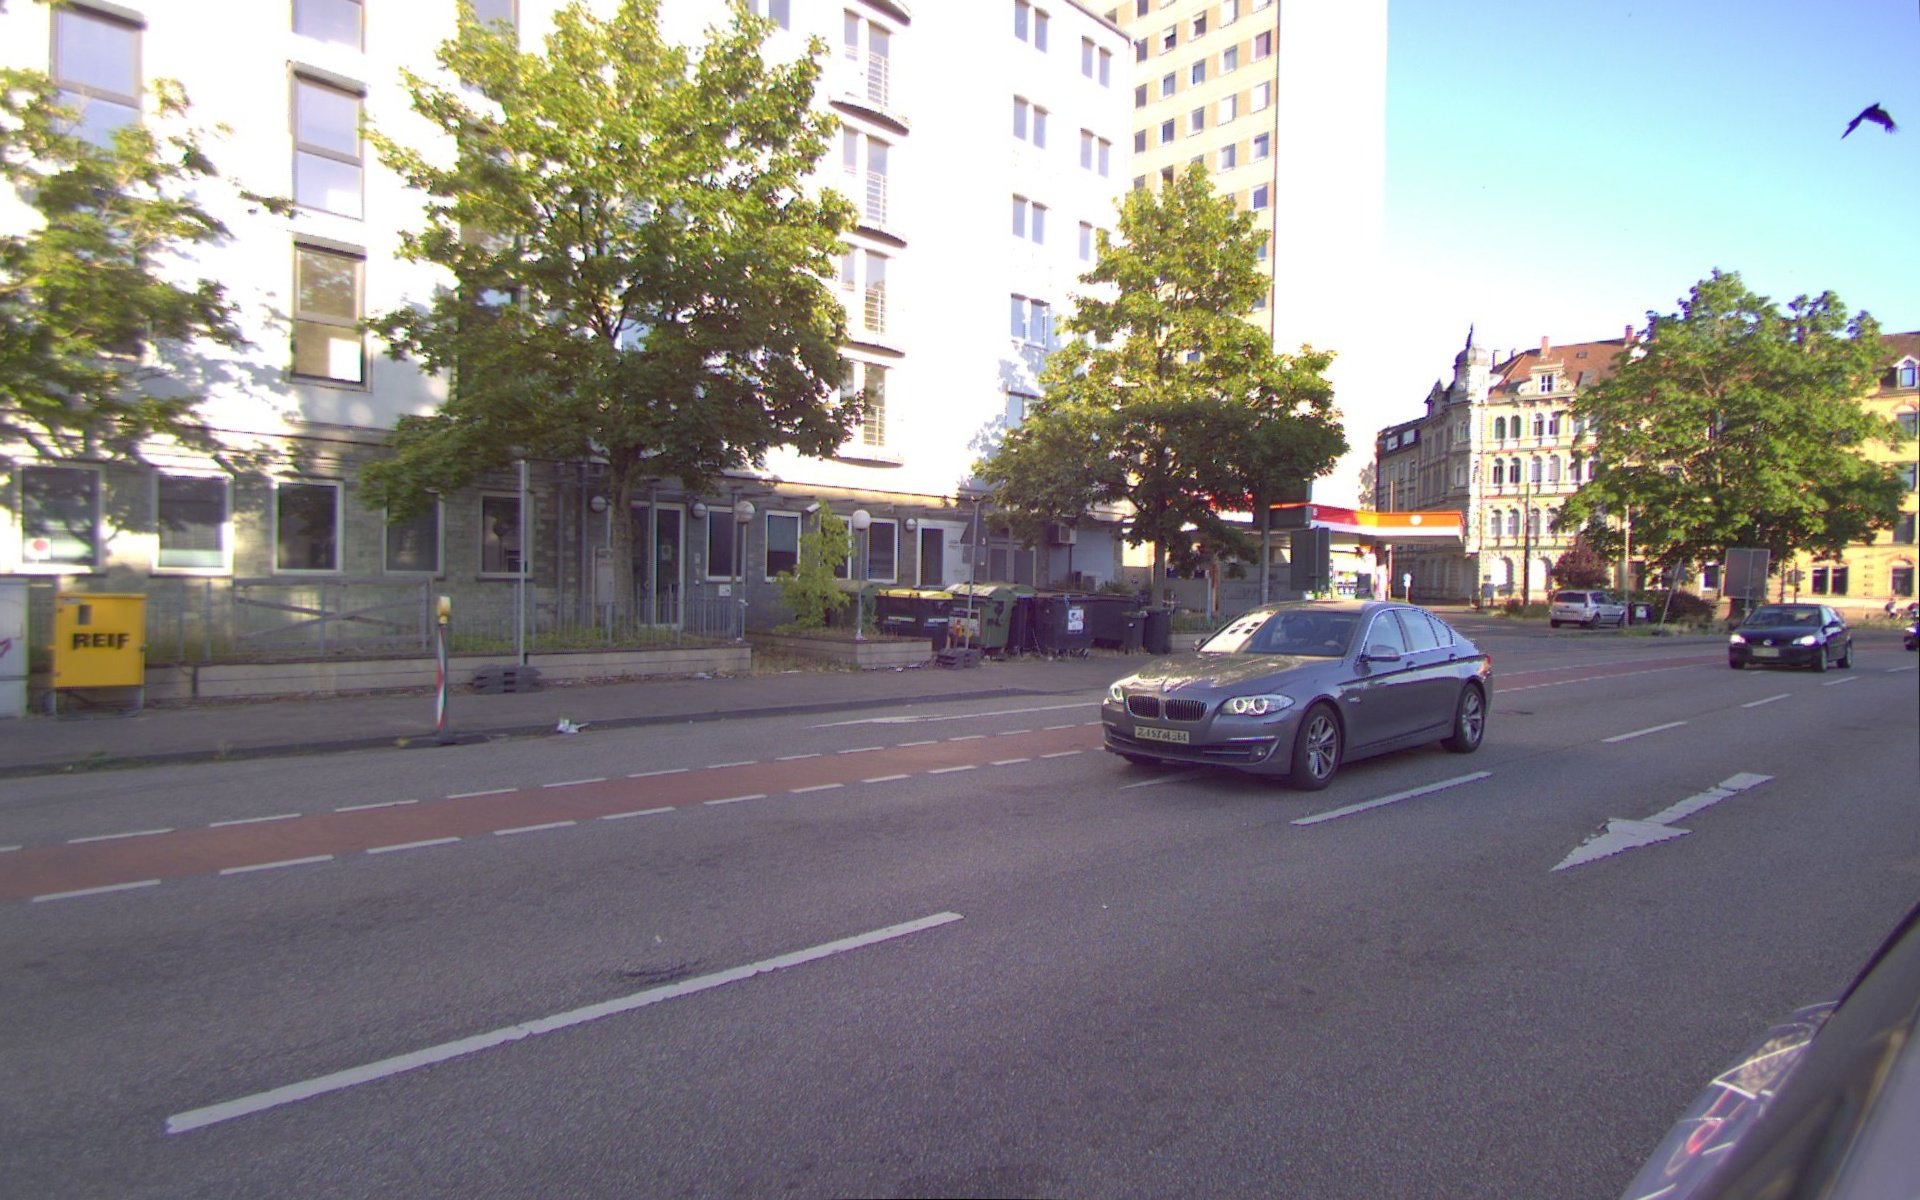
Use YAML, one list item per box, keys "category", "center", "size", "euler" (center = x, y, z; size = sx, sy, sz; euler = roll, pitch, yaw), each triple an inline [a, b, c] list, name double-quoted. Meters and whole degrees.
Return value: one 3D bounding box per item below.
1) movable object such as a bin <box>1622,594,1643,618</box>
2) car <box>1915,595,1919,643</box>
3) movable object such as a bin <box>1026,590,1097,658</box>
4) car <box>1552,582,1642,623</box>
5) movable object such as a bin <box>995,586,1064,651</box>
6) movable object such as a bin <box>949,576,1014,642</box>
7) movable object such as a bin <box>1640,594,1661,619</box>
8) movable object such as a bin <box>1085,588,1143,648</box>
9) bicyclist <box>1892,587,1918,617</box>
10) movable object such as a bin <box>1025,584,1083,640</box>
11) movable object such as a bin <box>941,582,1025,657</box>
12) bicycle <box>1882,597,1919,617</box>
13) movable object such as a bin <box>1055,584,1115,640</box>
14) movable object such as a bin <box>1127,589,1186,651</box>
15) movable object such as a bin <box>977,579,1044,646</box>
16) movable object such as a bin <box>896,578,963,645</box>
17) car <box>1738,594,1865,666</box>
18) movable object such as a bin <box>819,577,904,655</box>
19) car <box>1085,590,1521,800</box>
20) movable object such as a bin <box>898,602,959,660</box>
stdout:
- category: "movable object such as a bin"
  center: [29.063, 0.248, 43.739]
  size: [0.675, 1.031, 0.544]
  euler: [0, 1, -36]
- category: "car"
  center: [31.702, 0.588, 31.944]
  size: [3.972, 1.467, 1.731]
  euler: [0, 0, -38]
- category: "movable object such as a bin"
  center: [2.113, 0.469, 21.075]
  size: [1.143, 1.345, 0.954]
  euler: [0, 1, -44]
- category: "car"
  center: [25.725, 0.063, 40.861]
  size: [3.723, 1.535, 1.691]
  euler: [-1, 2, -34]
- category: "movable object such as a bin"
  center: [1.515, 0.384, 22.021]
  size: [1.143, 1.345, 0.954]
  euler: [0, 1, -44]
- category: "movable object such as a bin"
  center: [0.508, 0.193, 24.144]
  size: [1.143, 1.517, 1.033]
  euler: [0, 1, -44]
- category: "movable object such as a bin"
  center: [29.376, 0.263, 43.054]
  size: [0.675, 1.031, 0.544]
  euler: [0, 1, -36]
- category: "movable object such as a bin"
  center: [3.606, 0.394, 23.661]
  size: [0.938, 1.345, 0.954]
  euler: [0, 1, -43]
- category: "bicyclist"
  center: [53.675, 0.106, 57.495]
  size: [1.062, 1.669, 0.721]
  euler: [2, 1, 43]
- category: "movable object such as a bin"
  center: [2.357, 0.273, 25.305]
  size: [1.080, 1.345, 0.954]
  euler: [0, 1, -44]
- category: "movable object such as a bin"
  center: [0.465, 0.371, 20.777]
  size: [1.088, 1.441, 1.348]
  euler: [0, 1, -45]
- category: "bicycle"
  center: [53.593, 0.385, 57.351]
  size: [1.920, 1.072, 0.444]
  euler: [2, 1, 43]
- category: "movable object such as a bin"
  center: [3.037, 0.267, 24.575]
  size: [1.080, 1.299, 0.954]
  euler: [0, 1, -44]
- category: "movable object such as a bin"
  center: [4.495, 0.433, 23.134]
  size: [0.938, 1.345, 0.954]
  euler: [0, 1, -43]
- category: "movable object such as a bin"
  center: [1.157, 0.268, 23.150]
  size: [1.143, 1.467, 1.033]
  euler: [0, 1, -44]
- category: "movable object such as a bin"
  center: [-0.709, 0.247, 23.582]
  size: [1.143, 1.517, 1.033]
  euler: [0, 1, -44]
- category: "car"
  center: [18.796, 0.601, 22.553]
  size: [3.804, 1.467, 1.583]
  euler: [0, 0, -41]
- category: "movable object such as a bin"
  center: [-1.990, 0.294, 20.361]
  size: [1.088, 1.479, 1.348]
  euler: [0, 1, -45]
- category: "car"
  center: [3.348, 0.654, 9.327]
  size: [4.586, 1.467, 1.817]
  euler: [0, 0, -42]
- category: "movable object such as a bin"
  center: [-0.603, 0.581, 19.430]
  size: [0.851, 1.058, 0.806]
  euler: [2, 1, 45]
